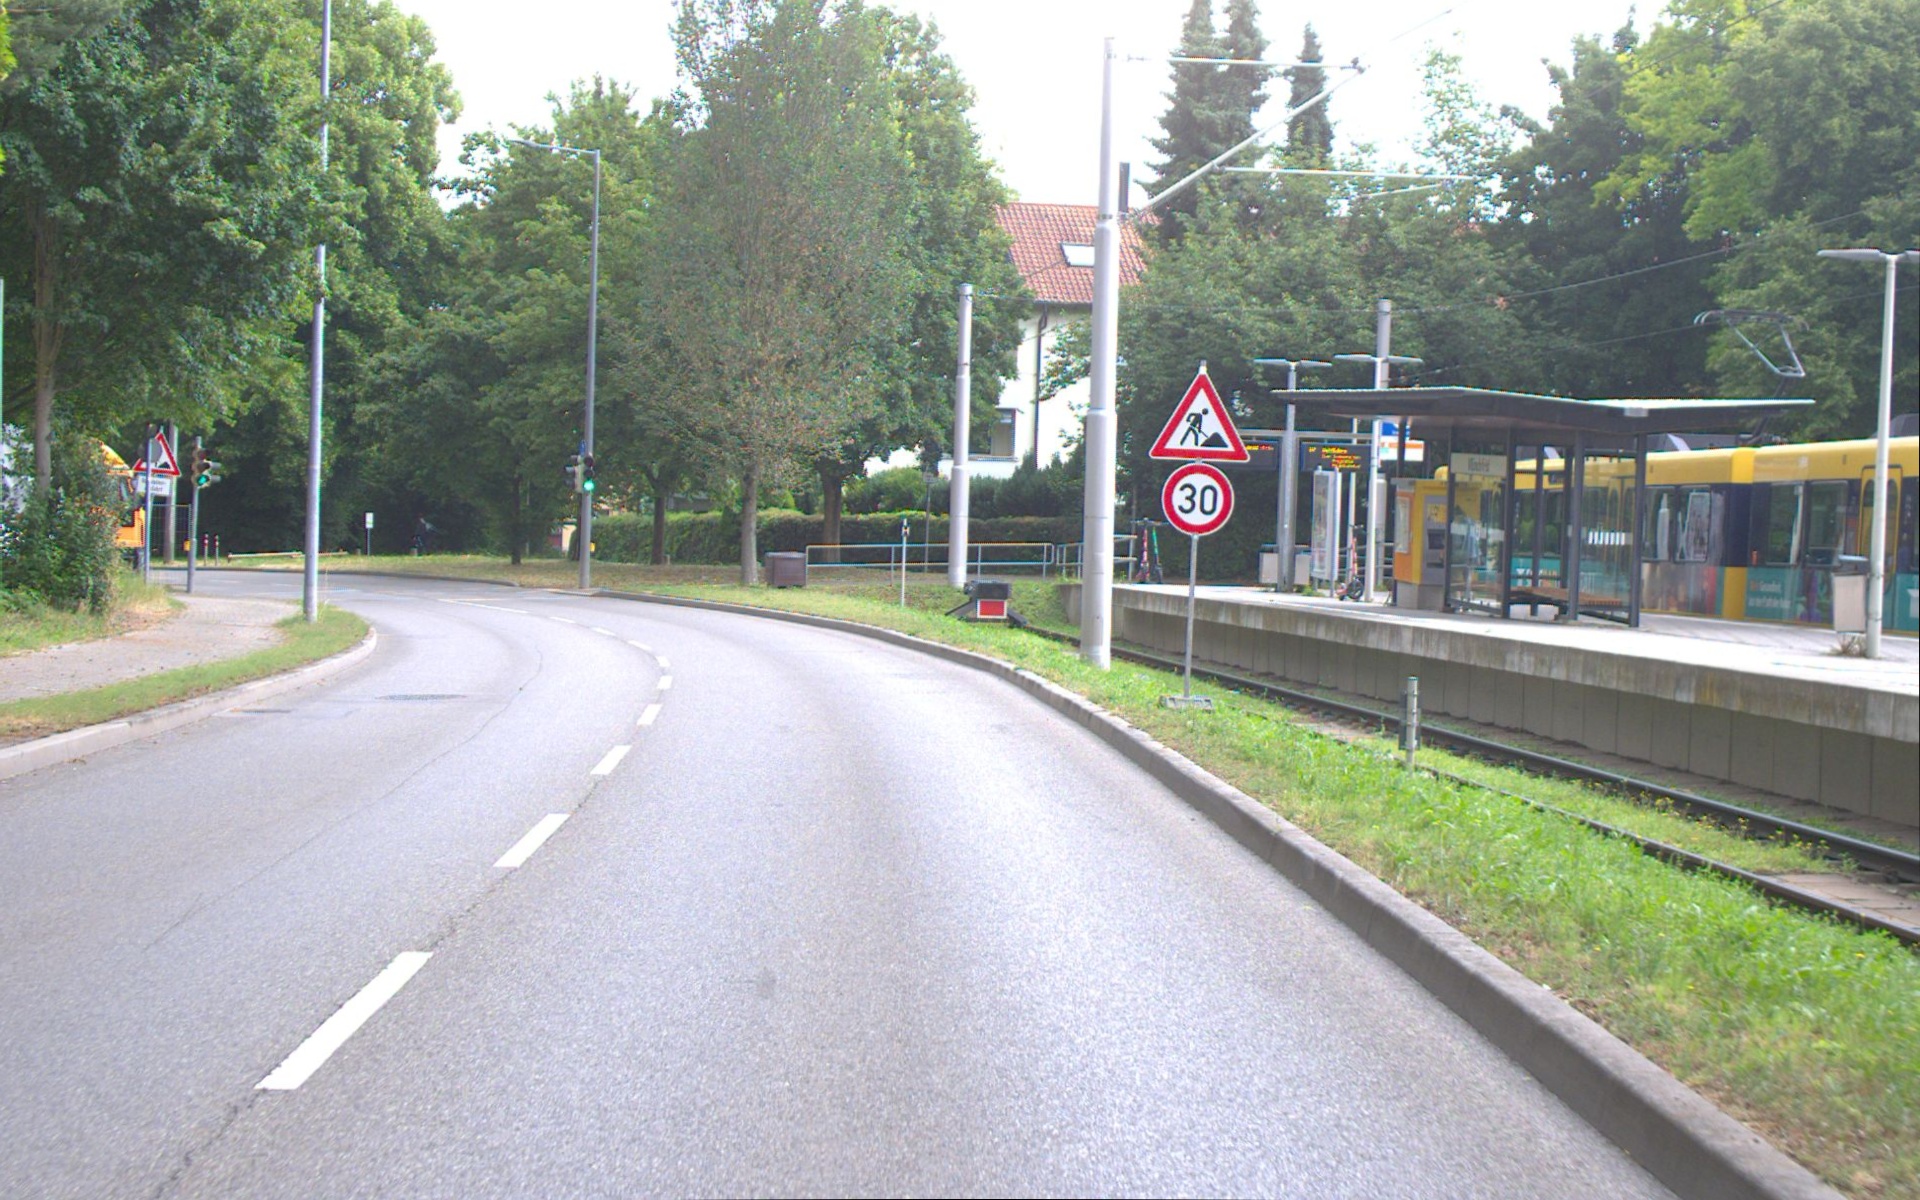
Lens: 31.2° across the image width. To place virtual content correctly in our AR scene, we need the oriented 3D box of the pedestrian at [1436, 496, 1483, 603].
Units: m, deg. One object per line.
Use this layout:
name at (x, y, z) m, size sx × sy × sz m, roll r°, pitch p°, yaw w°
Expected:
pedestrian at (7.448, -0.749, 51.227) m, size 0.623 × 1.567 × 0.665 m, roll 1°, pitch 1°, yaw 12°

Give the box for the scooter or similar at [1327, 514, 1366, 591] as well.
scooter or similar at (6.372, -0.786, 56.759) m, size 0.368 × 1.238 × 1.146 m, roll 1°, pitch 2°, yaw -6°

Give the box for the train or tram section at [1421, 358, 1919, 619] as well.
train or tram section at (11.427, -1.875, 58.468) m, size 2.813 × 3.576 × 19.518 m, roll 2°, pitch 2°, yaw -5°

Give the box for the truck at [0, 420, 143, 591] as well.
truck at (-22.202, -2.062, 72.838) m, size 9.228 × 3.519 × 2.566 m, roll 1°, pitch 0°, yaw -19°

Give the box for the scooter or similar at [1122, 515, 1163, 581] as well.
scooter or similar at (3.545, -1.008, 66.756) m, size 0.429 × 1.249 × 1.255 m, roll 0°, pitch 0°, yaw -14°

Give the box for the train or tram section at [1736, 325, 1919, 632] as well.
train or tram section at (13.263, -1.336, 38.921) m, size 2.813 × 3.724 × 19.518 m, roll 2°, pitch 2°, yaw -5°

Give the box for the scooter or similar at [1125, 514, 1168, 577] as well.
scooter or similar at (3.735, -1.084, 68.951) m, size 0.429 × 1.249 × 1.255 m, roll 0°, pitch 0°, yaw -18°
